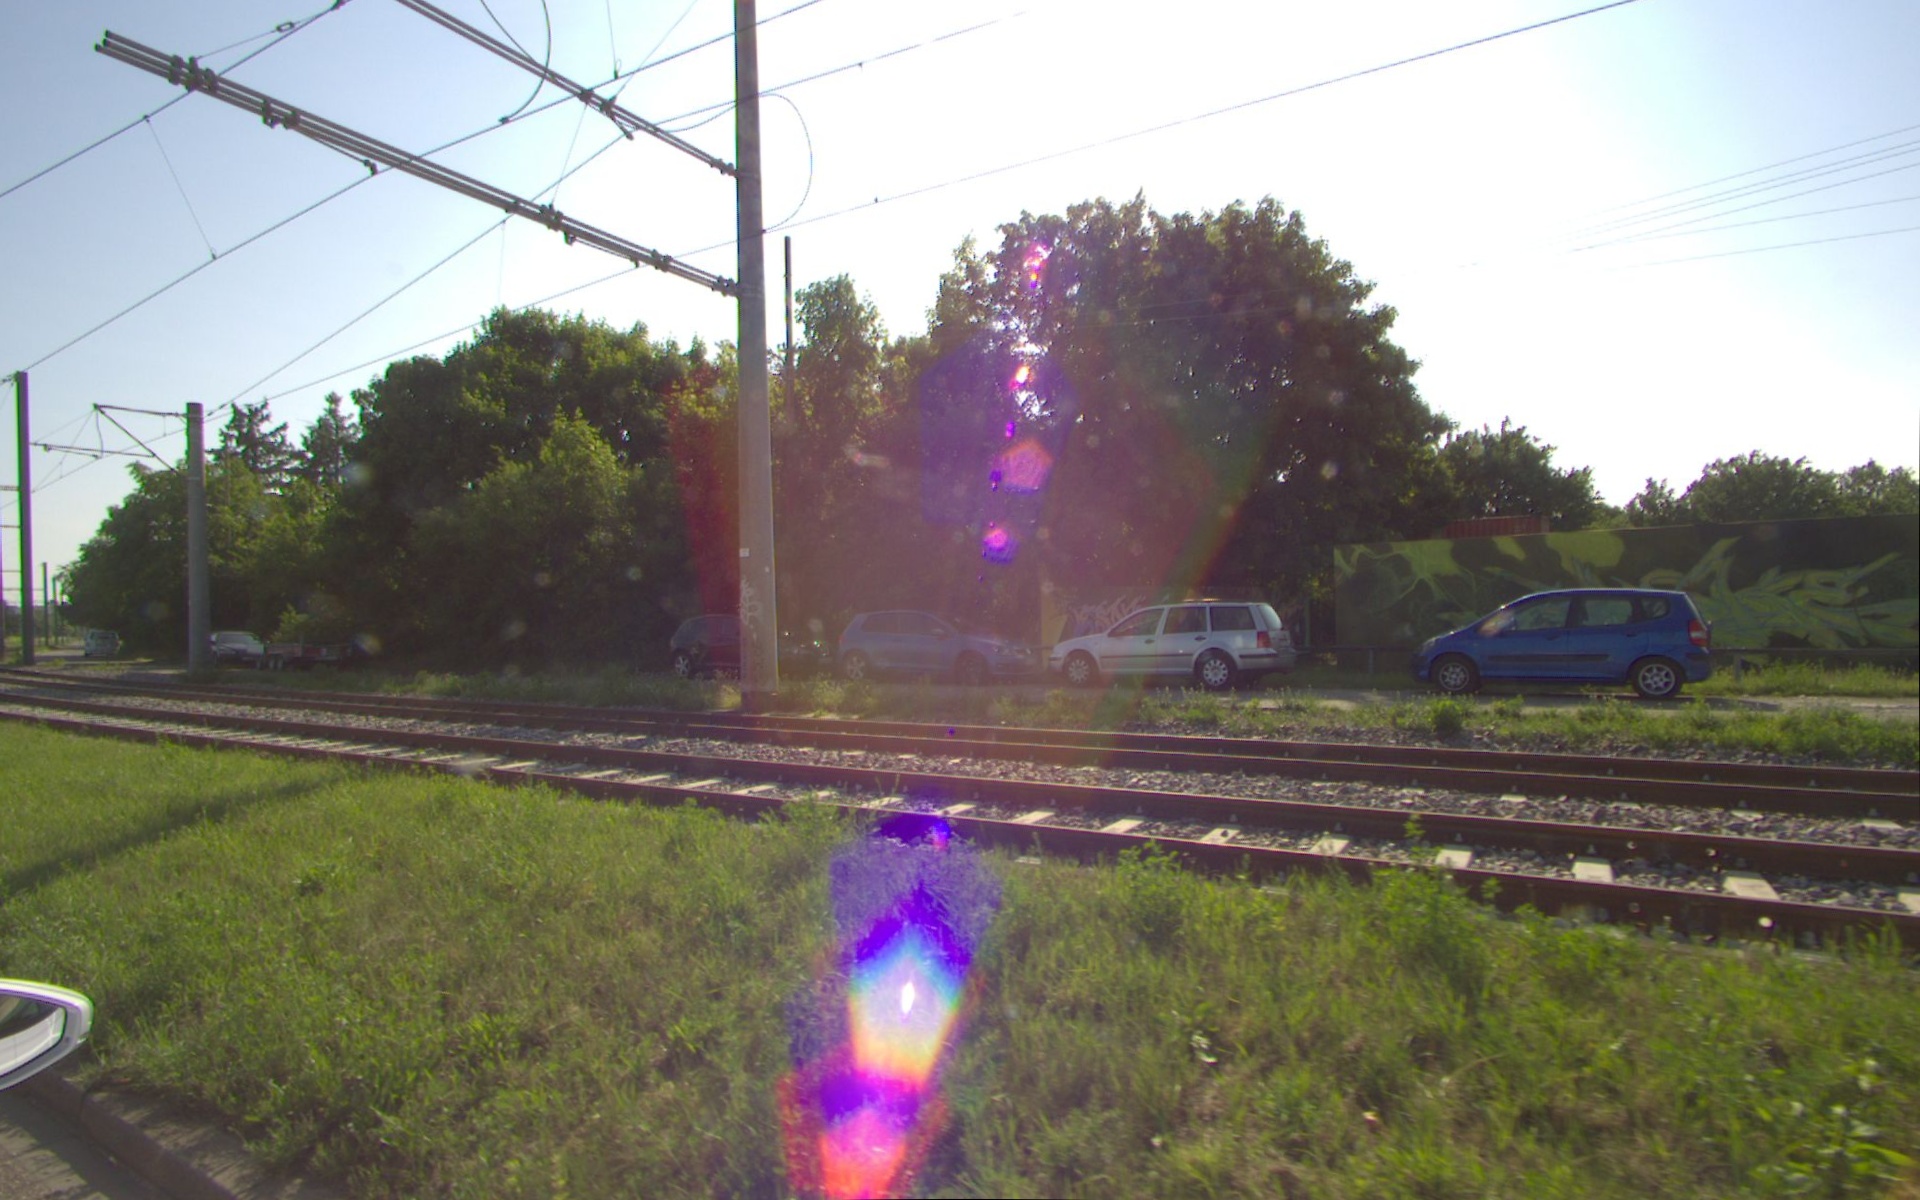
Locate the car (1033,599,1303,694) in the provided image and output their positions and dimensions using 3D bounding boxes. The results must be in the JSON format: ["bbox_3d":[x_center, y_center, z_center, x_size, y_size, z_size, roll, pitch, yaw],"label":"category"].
[{"bbox_3d":[3.583,0.756,17.585,4.329,1.485,1.705,-1,0,34],"label":"car"}]

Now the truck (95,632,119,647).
[{"bbox_3d":[-111.510,5.200,130.878,2.188,1.842,5.878,0,-1,-41],"label":"truck"}]

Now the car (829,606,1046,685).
[{"bbox_3d":[-0.477,0.874,19.796,4.086,1.419,1.483,-1,0,28],"label":"car"}]

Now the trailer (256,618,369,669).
[{"bbox_3d":[-22.084,1.486,34.111,4.209,1.616,2.019,-2,-3,39],"label":"trailer"}]

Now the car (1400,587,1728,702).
[{"bbox_3d":[8.570,0.622,14.427,3.859,1.448,1.674,-1,-2,35],"label":"car"}]

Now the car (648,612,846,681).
[{"bbox_3d":[-4.826,1.033,22.449,4.456,1.428,1.620,-1,-2,31],"label":"car"}]

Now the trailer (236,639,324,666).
[{"bbox_3d":[-25.023,1.918,36.826,3.684,0.951,1.725,-2,-4,40],"label":"trailer"}]

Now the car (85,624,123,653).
[{"bbox_3d":[-63.092,2.857,73.784,1.980,2.029,5.022,3,-4,-42],"label":"car"}]

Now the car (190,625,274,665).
[{"bbox_3d":[-28.831,1.764,39.605,4.827,1.474,1.691,-1,-3,42],"label":"car"}]
